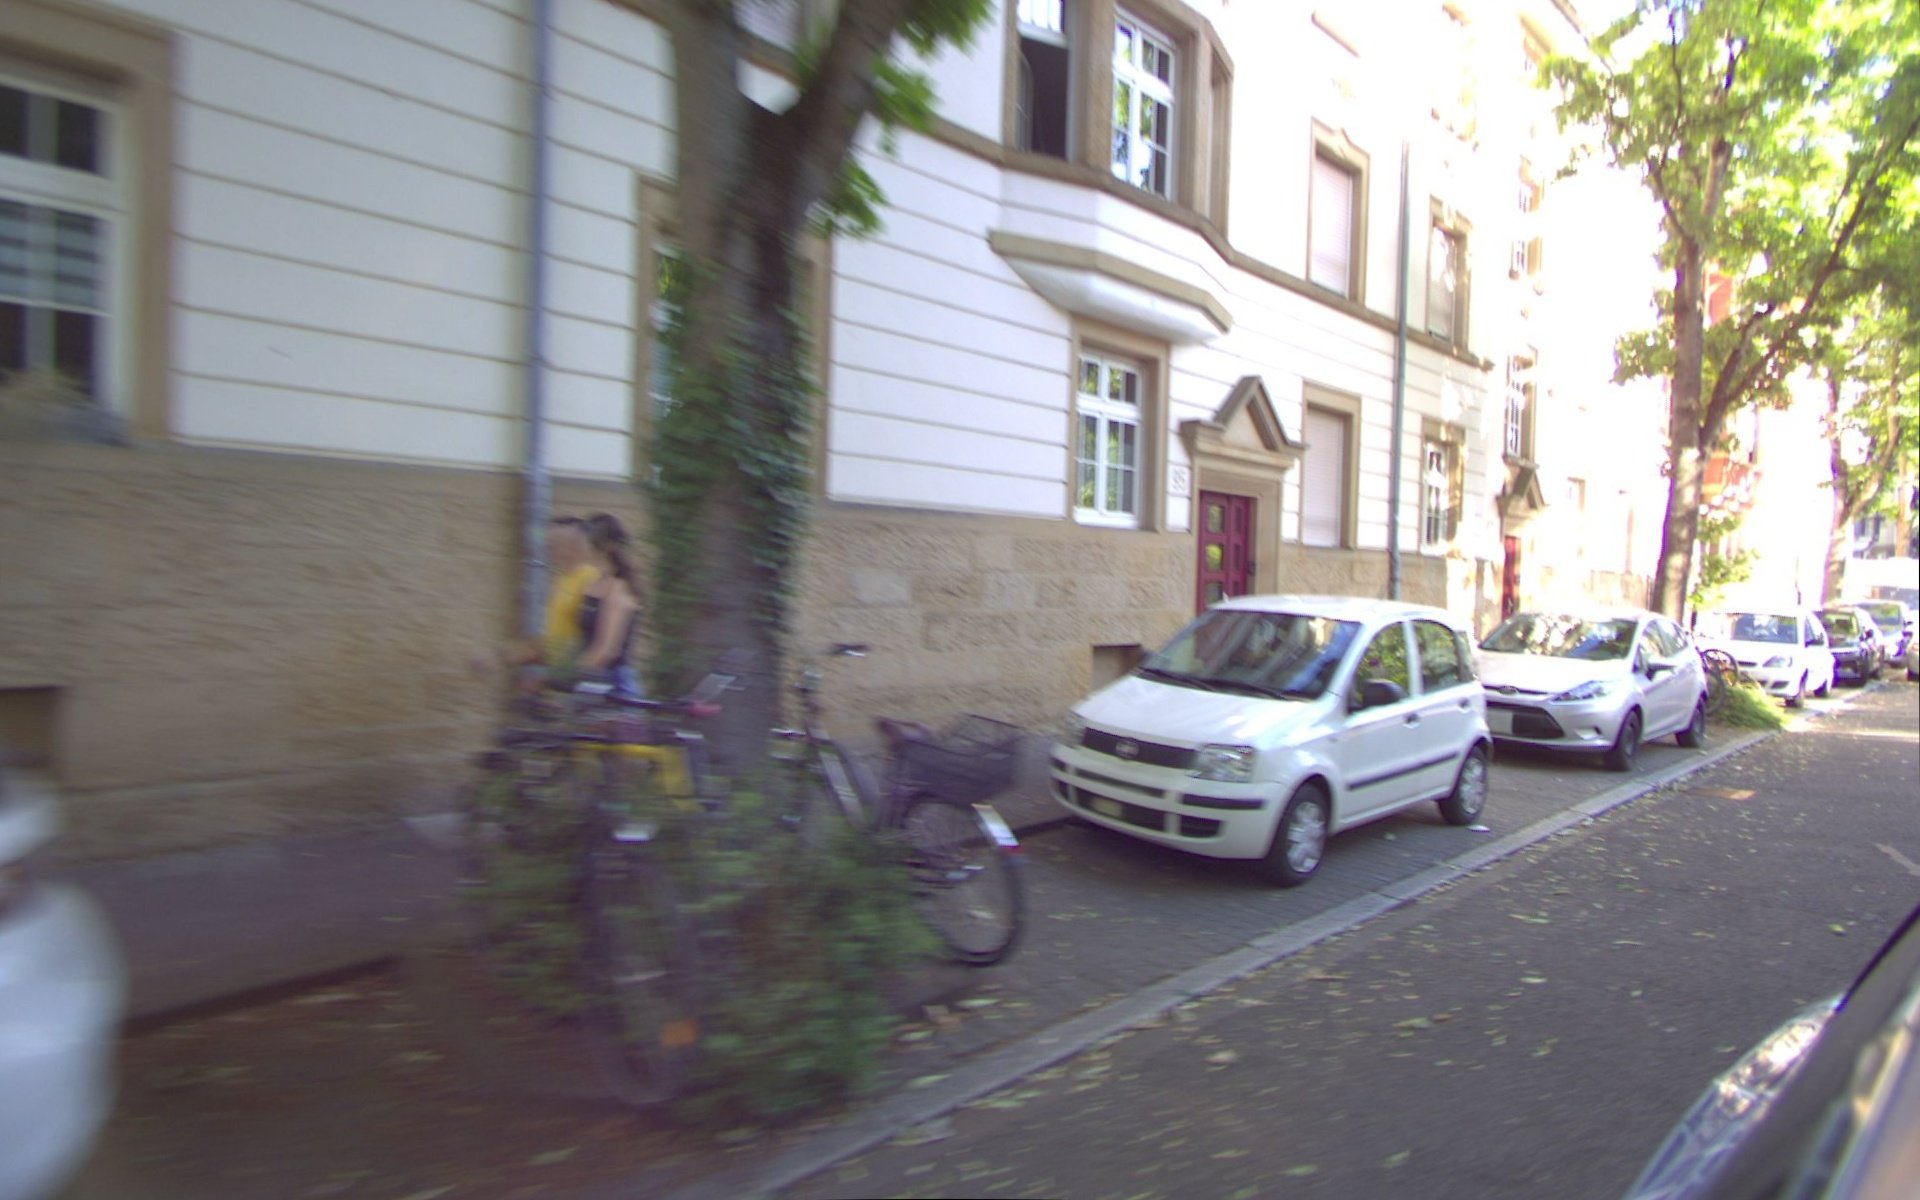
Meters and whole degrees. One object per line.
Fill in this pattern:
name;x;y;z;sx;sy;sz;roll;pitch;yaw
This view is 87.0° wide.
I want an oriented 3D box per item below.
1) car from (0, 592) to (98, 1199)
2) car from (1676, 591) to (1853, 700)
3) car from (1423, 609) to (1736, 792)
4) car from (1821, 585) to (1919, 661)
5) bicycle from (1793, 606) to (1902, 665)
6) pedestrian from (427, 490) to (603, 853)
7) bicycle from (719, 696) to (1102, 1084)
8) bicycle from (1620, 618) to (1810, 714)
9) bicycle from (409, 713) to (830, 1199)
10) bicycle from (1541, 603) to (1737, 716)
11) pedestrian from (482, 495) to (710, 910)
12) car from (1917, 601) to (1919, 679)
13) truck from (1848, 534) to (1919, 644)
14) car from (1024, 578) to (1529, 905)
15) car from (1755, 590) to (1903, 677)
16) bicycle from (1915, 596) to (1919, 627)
car;-3.552;0.758;1.137;1.611;1.496;3.809;2;2;44
car;13.023;0.637;16.313;3.683;1.506;1.599;0;3;-42
car;6.521;0.863;10.461;4.085;1.411;1.625;0;2;-42
car;23.680;0.525;25.959;4.861;1.737;1.888;0;2;-44
bicycle;20.685;0.797;23.619;0.559;1.181;1.814;0;4;-42
pedestrian;-2.306;0.328;5.233;0.676;1.722;0.597;0;2;-40
bicycle;-0.292;1.018;4.132;0.595;1.052;1.773;0;1;-41
bicycle;10.358;0.867;13.962;0.589;1.086;1.974;0;4;-40
bicycle;-1.223;0.997;3.373;0.720;0.961;1.719;0;3;-41
bicycle;8.928;0.734;13.388;0.747;1.244;1.974;0;3;-40
pedestrian;-1.704;0.424;4.755;0.862;1.756;0.521;0;2;-40
car;21.280;0.814;21.106;3.736;1.564;1.681;0;1;-43
truck;28.374;-0.317;30.170;6.006;3.004;2.077;0;4;-43
car;2.192;0.657;6.555;3.482;1.529;1.523;0;2;-42
car;17.574;0.590;20.398;4.384;1.533;1.789;0;1;-43
bicycle;42.497;0.531;43.726;0.576;1.321;1.761;0;2;-43
